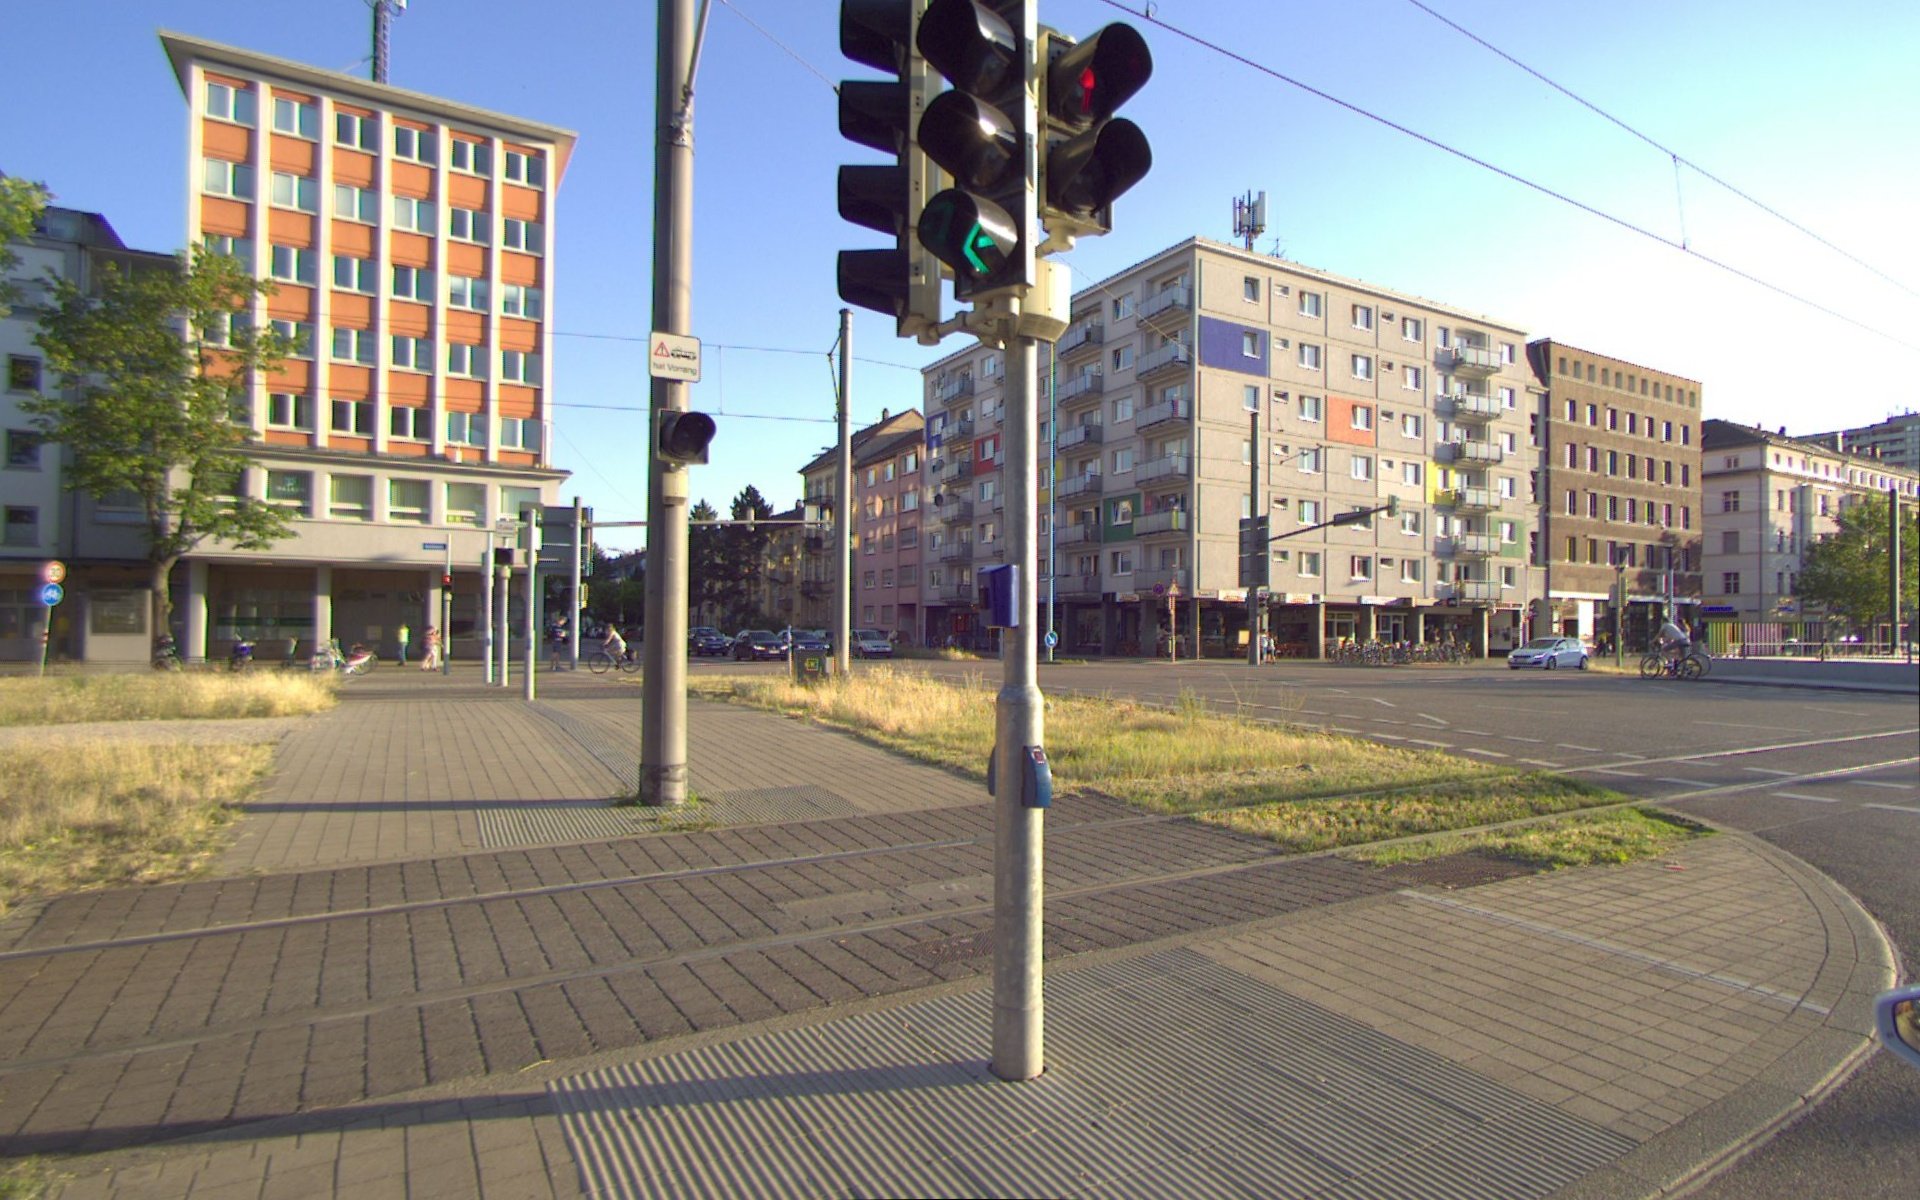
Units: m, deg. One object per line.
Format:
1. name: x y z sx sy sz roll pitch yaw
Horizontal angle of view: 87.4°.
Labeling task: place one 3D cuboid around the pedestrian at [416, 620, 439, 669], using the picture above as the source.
1. pedestrian: -20.156 1.683 38.016 0.705 1.842 0.746 1 -1 -29

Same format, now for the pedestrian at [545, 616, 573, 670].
1. pedestrian: -14.713 1.566 36.851 0.708 1.972 0.720 0 -1 43

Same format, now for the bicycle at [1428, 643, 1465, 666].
1. bicycle: 25.527 2.831 52.689 0.626 1.139 1.720 2 -2 -28

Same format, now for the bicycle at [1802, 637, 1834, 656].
1. bicycle: 57.040 3.086 66.795 2.382 1.217 0.809 1 -1 -28

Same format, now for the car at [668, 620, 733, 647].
1. car: -18.144 2.327 70.354 3.920 1.806 2.000 0 -1 18

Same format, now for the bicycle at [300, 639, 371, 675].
1. bicycle: -19.724 1.789 31.772 1.885 1.089 0.465 1 -1 -31

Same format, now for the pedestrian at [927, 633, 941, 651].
1. pedestrian: -1.855 3.063 72.849 0.705 1.272 0.786 1 -3 -33

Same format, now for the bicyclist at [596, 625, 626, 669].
1. bicyclist: -11.516 1.543 33.170 0.841 1.445 0.500 1 -1 -7

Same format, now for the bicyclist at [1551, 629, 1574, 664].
1. bicyclist: 31.365 2.413 52.322 0.779 1.765 0.701 1 -1 -19

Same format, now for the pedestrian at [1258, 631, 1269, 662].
1. pedestrian: 14.683 2.252 48.591 0.371 1.468 0.394 0 -1 33

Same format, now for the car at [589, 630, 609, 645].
1. car: -50.135 5.246 139.531 1.975 2.024 4.189 1 -2 -28

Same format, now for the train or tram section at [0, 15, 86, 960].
1. train or tram section: -9.327 -0.560 0.439 13.068 3.788 2.894 2 -1 -31

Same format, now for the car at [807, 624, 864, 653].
1. car: -6.921 2.127 55.656 1.974 1.505 3.974 1 -1 -26

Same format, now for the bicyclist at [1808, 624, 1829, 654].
1. bicyclist: 57.148 2.591 66.852 0.912 2.040 0.794 1 -1 -28

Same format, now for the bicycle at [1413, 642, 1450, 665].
1. bicycle: 24.452 2.785 52.119 0.545 1.132 1.747 2 -1 -29

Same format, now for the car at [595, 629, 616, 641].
1. car: -47.606 4.708 134.859 1.975 1.537 4.189 1 -2 -28

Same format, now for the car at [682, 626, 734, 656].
1. car: -14.409 2.319 57.254 1.975 1.551 3.971 1 -1 -28

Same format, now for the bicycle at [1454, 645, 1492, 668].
1. bicycle: 27.429 3.006 53.759 0.739 1.185 1.684 2 -1 -28

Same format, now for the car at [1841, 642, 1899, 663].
1. car: 65.714 3.748 72.548 3.948 1.439 1.813 1 -1 -27

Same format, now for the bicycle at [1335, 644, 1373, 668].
1. bicycle: 19.706 2.792 50.237 0.601 1.157 1.768 2 -1 -29

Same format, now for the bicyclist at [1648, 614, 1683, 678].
1. bicyclist: 20.606 1.325 29.341 0.784 1.842 0.643 0 -1 41

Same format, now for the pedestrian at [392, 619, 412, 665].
1. pedestrian: -22.589 1.688 40.661 0.633 1.815 0.580 1 -1 -31

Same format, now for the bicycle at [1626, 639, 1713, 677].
1. bicycle: 21.857 1.778 30.984 2.141 1.098 0.535 -1 -1 44

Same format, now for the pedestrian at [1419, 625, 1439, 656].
1. pedestrian: 27.589 2.378 59.082 0.715 1.837 0.820 1 -1 -40

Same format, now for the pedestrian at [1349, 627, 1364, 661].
1. pedestrian: 20.270 2.240 51.351 0.572 1.706 0.544 0 -1 39

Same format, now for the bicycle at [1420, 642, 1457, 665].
1. bicycle: 24.963 2.793 52.392 0.561 1.134 1.753 2 -1 -29

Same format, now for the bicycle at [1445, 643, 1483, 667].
1. bicycle: 26.770 2.896 53.371 0.739 1.194 1.684 2 -1 -28

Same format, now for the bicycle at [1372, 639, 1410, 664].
1. bicycle: 21.625 2.595 50.447 0.561 1.197 1.761 2 -1 -29

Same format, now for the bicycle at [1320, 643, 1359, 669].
1. bicycle: 18.791 2.764 49.789 0.631 1.224 1.786 2 -1 -30

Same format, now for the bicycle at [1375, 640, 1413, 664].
1. bicycle: 22.422 2.656 51.914 0.632 1.176 1.822 2 -1 -29

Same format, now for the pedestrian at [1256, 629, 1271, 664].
1. pedestrian: 14.318 2.179 47.448 0.563 1.641 0.602 0 -1 29

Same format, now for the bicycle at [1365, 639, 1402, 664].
1. bicycle: 21.124 2.542 50.149 0.534 1.183 1.758 2 -1 -29

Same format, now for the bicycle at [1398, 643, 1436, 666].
1. bicycle: 23.745 2.811 52.216 0.598 1.151 1.763 2 -1 -29

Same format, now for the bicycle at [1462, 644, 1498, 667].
1. bicycle: 28.033 2.982 54.167 0.688 1.159 1.684 2 -1 -28

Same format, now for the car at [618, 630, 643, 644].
1. car: -37.013 4.160 112.731 1.975 1.537 4.189 1 -2 -28

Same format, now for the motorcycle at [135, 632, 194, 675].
1. motorcycle: -25.110 1.691 31.715 1.373 1.335 0.378 1 -1 -28

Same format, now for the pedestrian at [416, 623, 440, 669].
1. pedestrian: -19.810 1.713 37.408 0.721 1.707 0.580 1 -1 -31

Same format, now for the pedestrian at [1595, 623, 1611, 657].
1. pedestrian: 42.641 2.652 66.644 0.783 2.207 0.599 1 -1 -30

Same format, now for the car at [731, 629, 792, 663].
1. car: -9.492 2.161 47.814 1.861 1.505 3.974 1 -1 -26

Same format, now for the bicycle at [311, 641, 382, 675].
1. bicycle: -20.345 1.913 33.366 1.972 1.089 0.465 1 -1 -31

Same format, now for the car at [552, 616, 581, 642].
1. car: -36.824 2.730 93.879 1.975 2.355 4.189 1 -1 -28

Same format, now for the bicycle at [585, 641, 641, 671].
1. bicycle: -11.448 1.854 33.179 1.637 0.957 0.509 1 -1 -7

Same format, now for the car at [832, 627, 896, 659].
1. car: -4.931 2.164 51.305 1.974 1.505 3.974 1 -1 -26

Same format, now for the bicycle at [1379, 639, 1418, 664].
1. bicycle: 22.164 2.588 50.806 0.644 1.207 1.780 2 -1 -30

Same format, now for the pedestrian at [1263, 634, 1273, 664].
1. pedestrian: 14.720 2.340 47.969 0.376 1.401 0.394 0 -1 32

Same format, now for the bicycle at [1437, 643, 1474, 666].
1. bicycle: 26.138 2.865 52.991 0.696 1.168 1.684 2 -1 -28

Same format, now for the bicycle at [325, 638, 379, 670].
1. bicycle: -20.916 1.860 34.587 1.543 1.089 0.392 1 -1 -31

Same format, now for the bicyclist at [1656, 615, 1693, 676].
1. bicyclist: 21.979 1.396 30.887 0.867 1.842 0.535 0 -1 44

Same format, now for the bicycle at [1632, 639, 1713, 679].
1. bicycle: 20.714 1.695 29.231 1.879 1.089 0.629 0 -1 41

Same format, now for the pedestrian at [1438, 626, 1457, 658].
1. pedestrian: 28.312 2.436 58.356 0.728 1.866 0.780 1 -1 -38

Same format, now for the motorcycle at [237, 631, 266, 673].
1. motorcycle: -24.053 1.747 34.126 0.538 1.335 1.823 1 -1 -27

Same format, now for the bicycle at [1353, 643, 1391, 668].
1. bicycle: 20.512 2.766 50.066 0.592 1.154 1.749 2 -1 -29

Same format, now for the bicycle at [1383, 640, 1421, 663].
1. bicycle: 22.978 2.666 52.254 0.598 1.174 1.768 2 -1 -29

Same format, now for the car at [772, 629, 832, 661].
1. car: -8.158 2.283 51.681 1.974 1.505 3.974 1 -1 -26

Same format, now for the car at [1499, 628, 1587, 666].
1. car: 26.028 2.080 44.840 3.953 1.639 1.681 1 -2 -30
